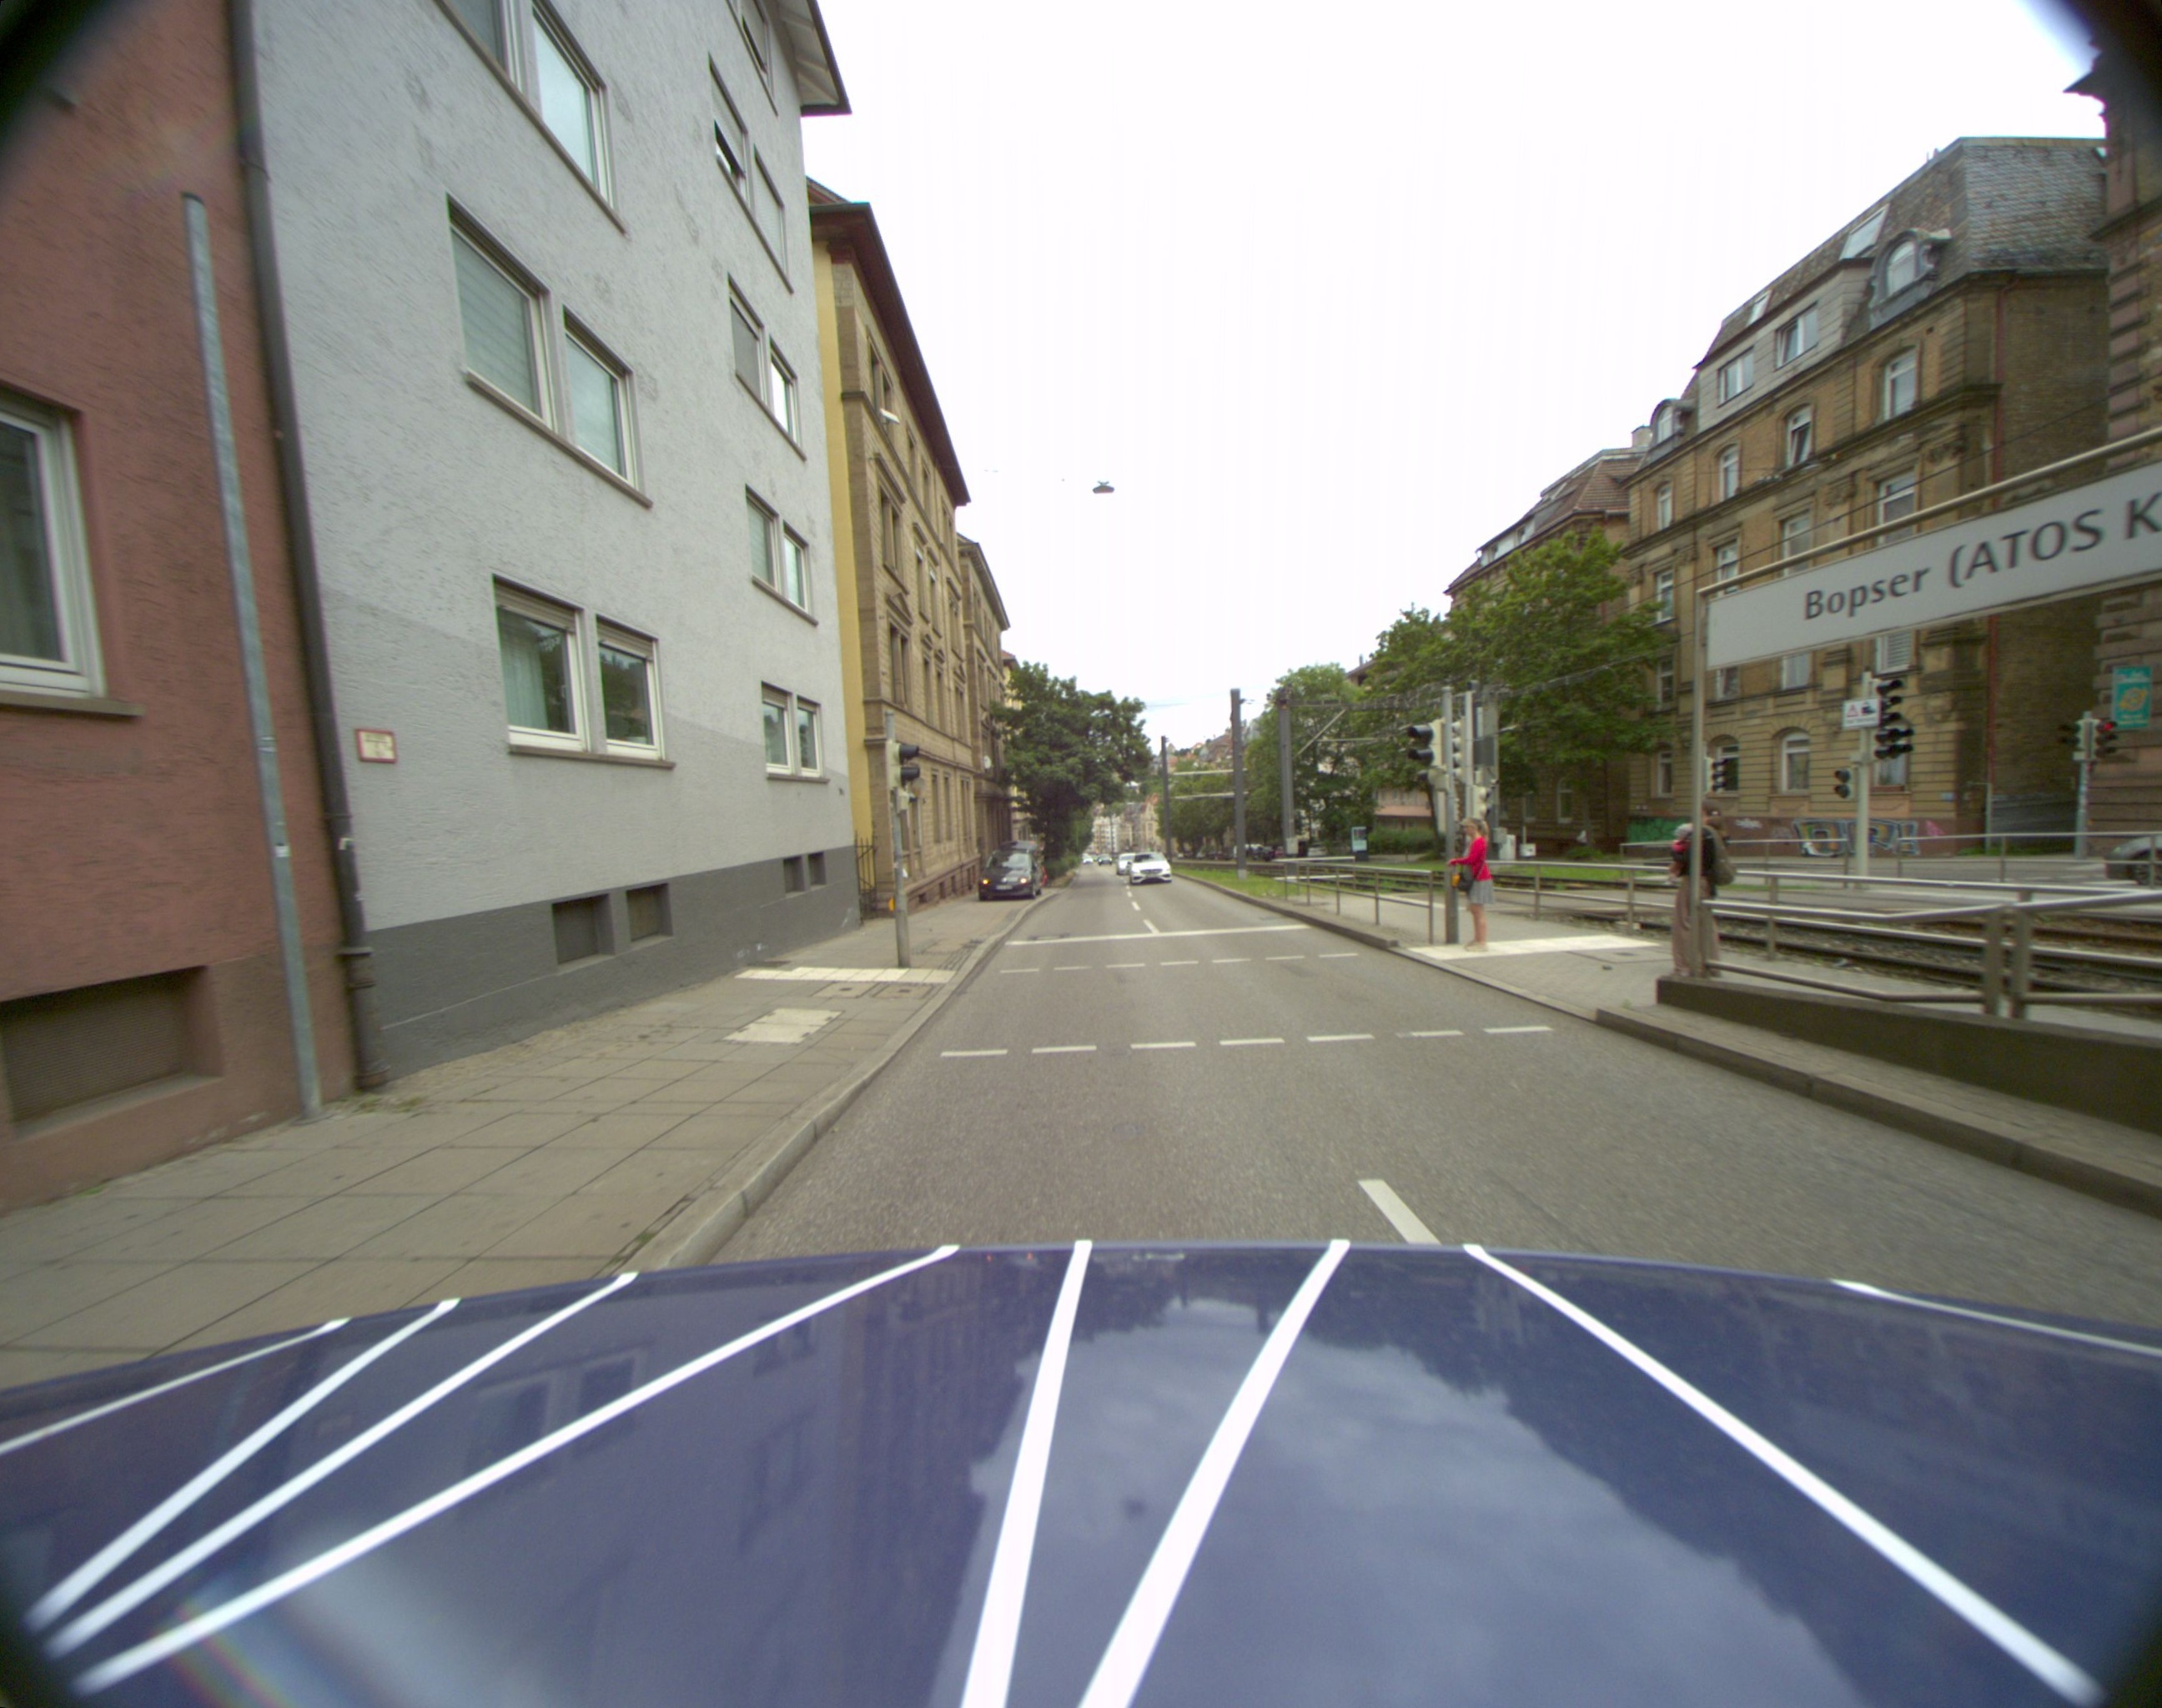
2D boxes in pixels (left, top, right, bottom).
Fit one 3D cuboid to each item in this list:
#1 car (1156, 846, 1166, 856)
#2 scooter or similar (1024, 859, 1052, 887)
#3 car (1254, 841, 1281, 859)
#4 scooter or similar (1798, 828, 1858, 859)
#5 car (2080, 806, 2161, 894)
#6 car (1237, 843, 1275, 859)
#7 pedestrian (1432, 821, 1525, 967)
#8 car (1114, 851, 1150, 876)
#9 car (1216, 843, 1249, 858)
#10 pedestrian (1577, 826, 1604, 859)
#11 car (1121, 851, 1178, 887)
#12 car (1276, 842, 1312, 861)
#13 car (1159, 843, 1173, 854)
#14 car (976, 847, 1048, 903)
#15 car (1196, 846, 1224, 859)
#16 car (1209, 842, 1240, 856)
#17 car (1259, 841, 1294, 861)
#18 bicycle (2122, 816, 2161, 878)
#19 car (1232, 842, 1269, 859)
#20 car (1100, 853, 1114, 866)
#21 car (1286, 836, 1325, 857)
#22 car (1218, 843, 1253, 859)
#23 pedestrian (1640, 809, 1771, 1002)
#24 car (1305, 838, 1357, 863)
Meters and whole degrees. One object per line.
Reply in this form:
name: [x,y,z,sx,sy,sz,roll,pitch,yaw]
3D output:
car: [17.652,-0.627,167.770,1.998,2.002,4.000,-3,0,2]
scooter or similar: [-1.999,0.888,35.259,1.199,1.266,0.629,0,1,-8]
car: [20.075,-0.467,81.727,1.780,1.678,3.864,-3,1,29]
scooter or similar: [23.813,-0.330,24.259,0.429,0.937,1.588,-3,0,5]
car: [18.424,-0.100,10.988,1.887,1.410,4.559,-3,0,-1]
car: [19.932,-0.361,86.708,3.861,1.678,1.781,-3,0,-23]
pedestrian: [4.800,0.468,9.215,0.680,1.670,0.685,-3,1,-2]
car: [3.502,0.644,52.868,1.999,1.479,4.229,-5,0,-2]
car: [20.493,-0.461,102.941,3.859,1.803,1.782,-3,0,-15]
pedestrian: [23.811,-0.541,35.526,0.689,1.504,0.740,-3,1,2]
car: [3.082,0.671,34.809,1.999,1.390,4.229,-5,0,-2]
car: [20.600,-0.278,73.438,1.780,1.678,3.865,-3,0,40]
car: [17.259,-1.156,154.523,1.999,2.002,3.998,-3,0,-5]
car: [-2.251,0.640,25.869,1.862,1.701,4.308,-2,0,2]
car: [19.824,-0.258,117.025,3.859,1.803,1.782,-3,0,-15]
car: [20.503,-0.716,108.422,3.859,1.803,1.782,-3,0,-15]
car: [19.485,-0.319,75.627,1.780,1.678,3.864,-2,2,41]
bicycle: [21.546,-0.141,14.701,0.626,1.215,1.602,-3,0,3]
car: [19.833,-0.384,88.841,3.861,1.803,1.781,-3,0,-23]
car: [3.682,0.810,108.865,1.881,1.727,4.000,-3,0,2]
car: [19.704,-0.646,66.692,1.780,1.678,3.865,-3,0,40]
car: [19.723,-0.425,97.011,3.859,1.804,1.782,-3,1,-15]
pedestrian: [5.827,0.457,7.116,0.623,1.685,0.660,-3,1,-9]
car: [19.998,-0.286,60.812,3.863,1.678,1.780,-4,1,-31]
